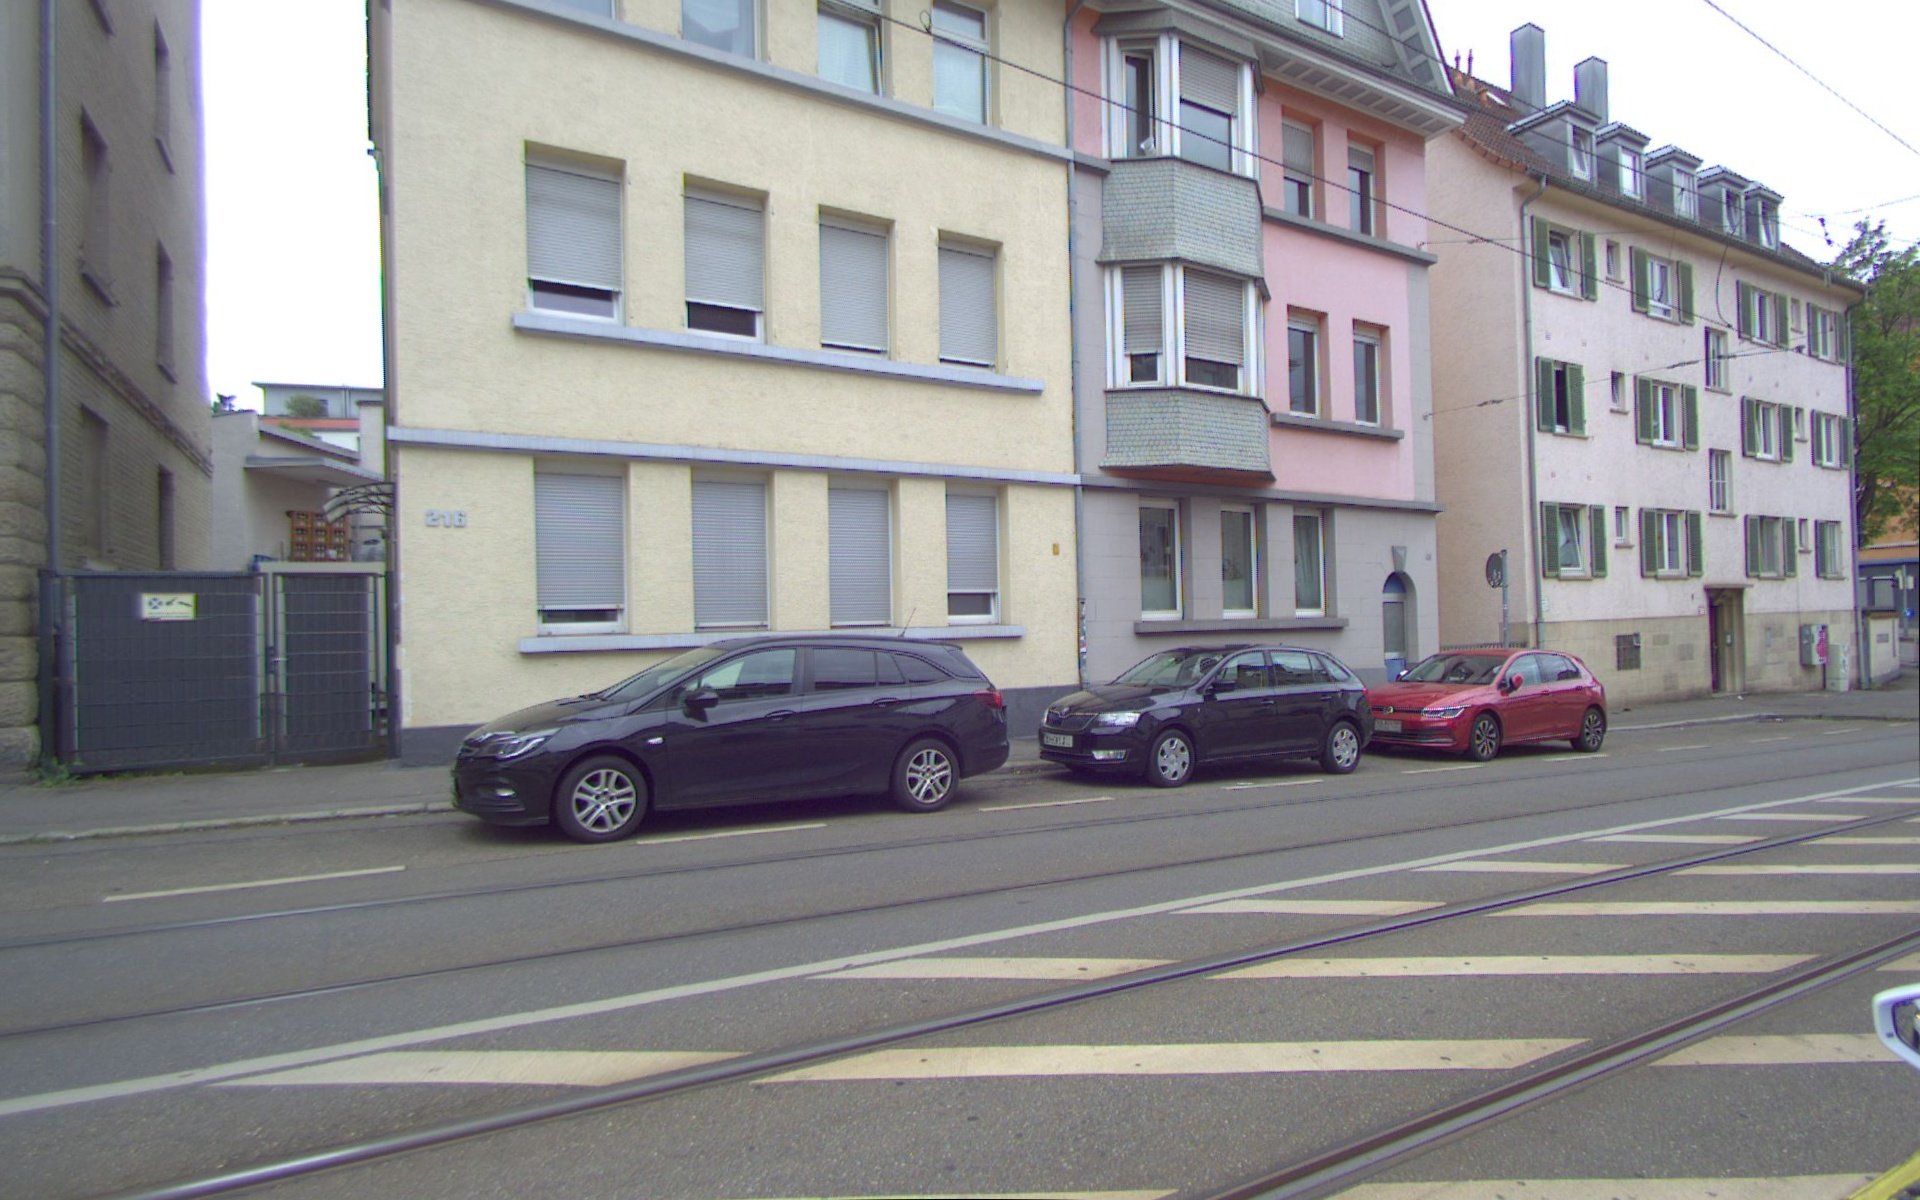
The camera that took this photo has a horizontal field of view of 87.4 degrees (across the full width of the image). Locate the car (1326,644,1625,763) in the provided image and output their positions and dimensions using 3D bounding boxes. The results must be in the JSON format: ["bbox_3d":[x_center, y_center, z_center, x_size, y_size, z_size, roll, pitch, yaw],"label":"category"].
[{"bbox_3d":[7.339,1.391,14.228,4.211,1.457,1.777,2,-4,-30],"label":"car"}]

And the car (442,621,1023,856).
[{"bbox_3d":[-1.805,1.023,8.490,4.473,1.530,1.777,2,-4,-30],"label":"car"}]

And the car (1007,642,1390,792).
[{"bbox_3d":[2.759,1.227,11.421,4.192,1.429,1.777,2,-4,-30],"label":"car"}]
